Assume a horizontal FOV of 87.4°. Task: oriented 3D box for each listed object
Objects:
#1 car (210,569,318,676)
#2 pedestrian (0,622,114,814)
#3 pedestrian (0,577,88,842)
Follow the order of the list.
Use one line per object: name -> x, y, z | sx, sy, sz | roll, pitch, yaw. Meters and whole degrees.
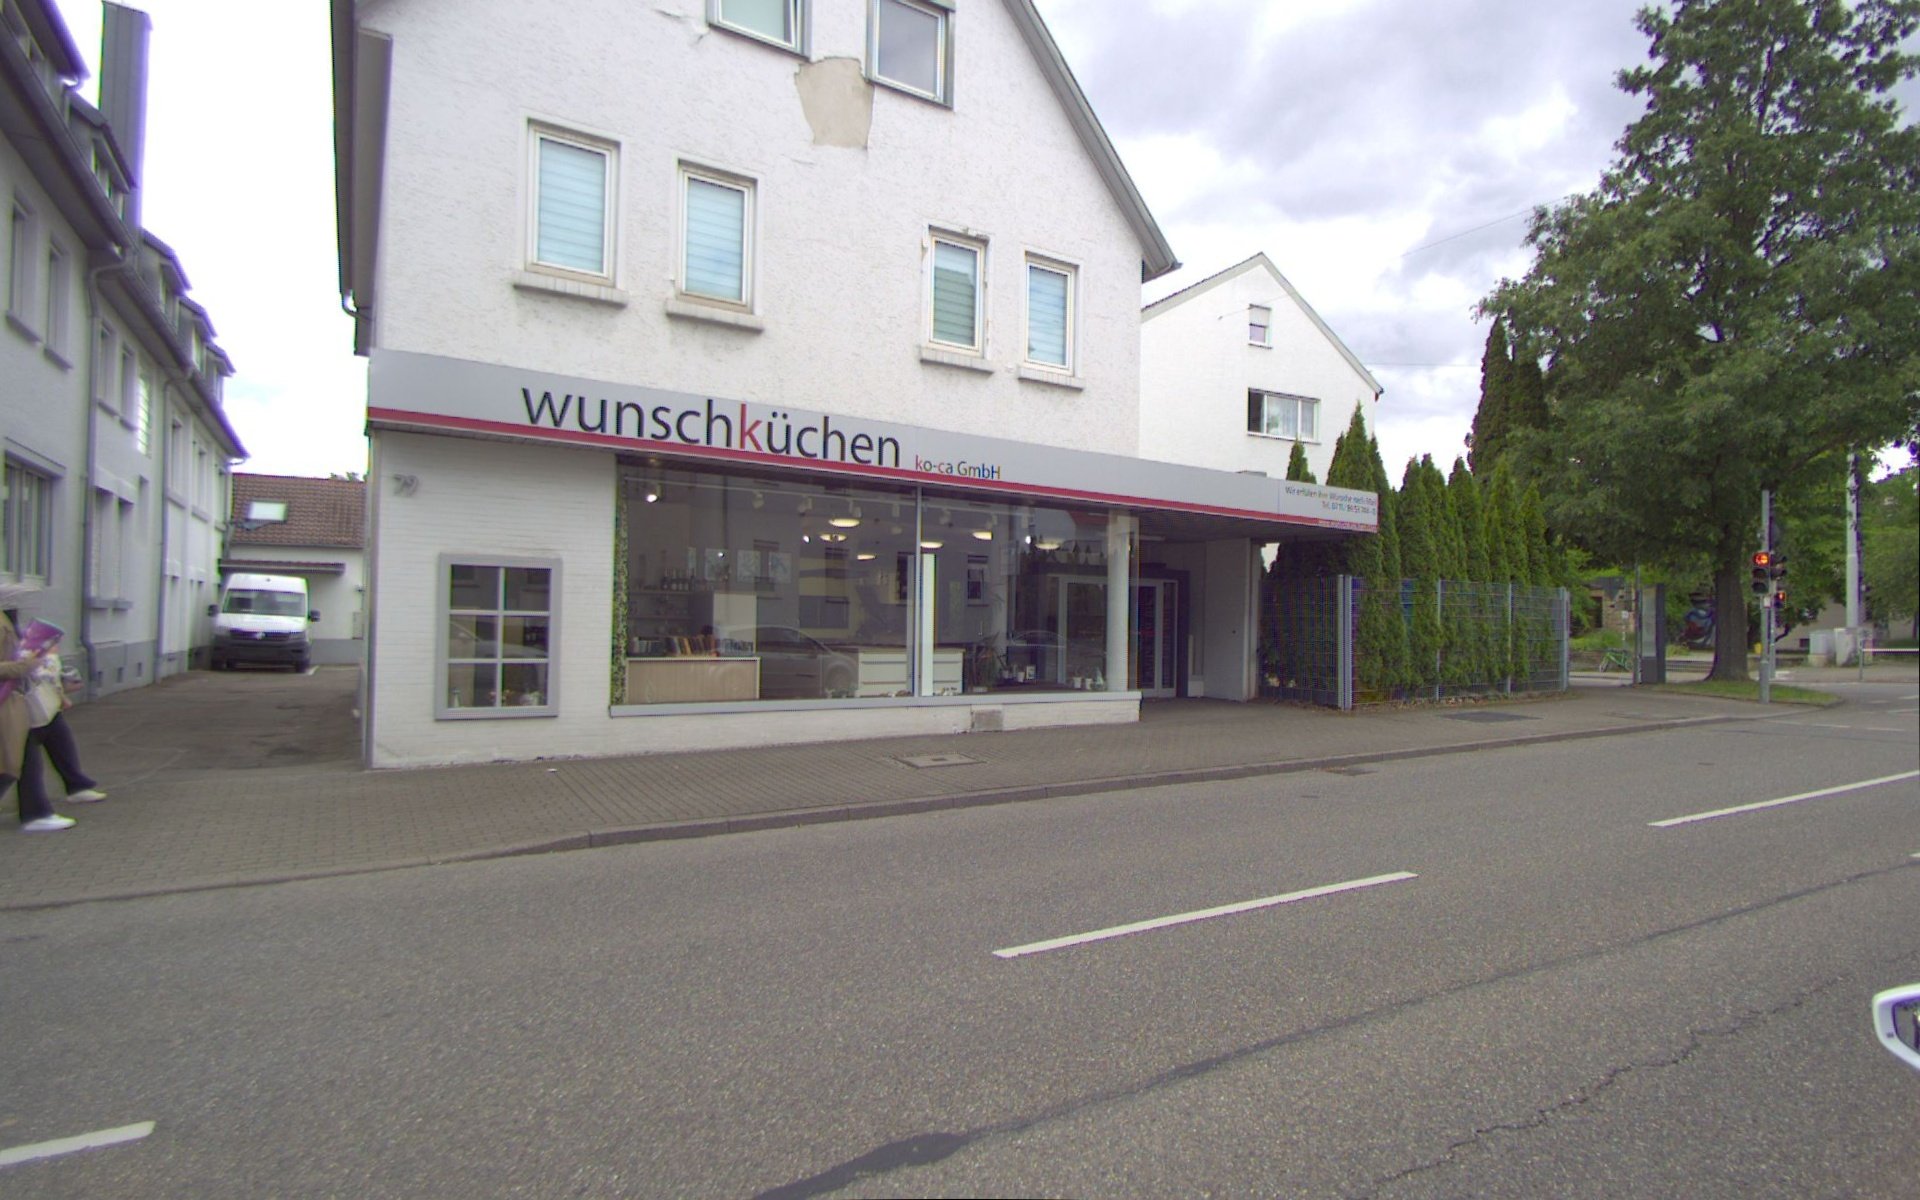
car -> -18.818, 0.559, 27.399 | 1.938, 2.541, 5.943 | 4, -2, -32
pedestrian -> -6.604, 0.825, 7.248 | 0.647, 1.297, 0.596 | 1, 1, -31
pedestrian -> -6.296, 0.681, 6.547 | 0.784, 1.638, 0.747 | 1, 2, -31
